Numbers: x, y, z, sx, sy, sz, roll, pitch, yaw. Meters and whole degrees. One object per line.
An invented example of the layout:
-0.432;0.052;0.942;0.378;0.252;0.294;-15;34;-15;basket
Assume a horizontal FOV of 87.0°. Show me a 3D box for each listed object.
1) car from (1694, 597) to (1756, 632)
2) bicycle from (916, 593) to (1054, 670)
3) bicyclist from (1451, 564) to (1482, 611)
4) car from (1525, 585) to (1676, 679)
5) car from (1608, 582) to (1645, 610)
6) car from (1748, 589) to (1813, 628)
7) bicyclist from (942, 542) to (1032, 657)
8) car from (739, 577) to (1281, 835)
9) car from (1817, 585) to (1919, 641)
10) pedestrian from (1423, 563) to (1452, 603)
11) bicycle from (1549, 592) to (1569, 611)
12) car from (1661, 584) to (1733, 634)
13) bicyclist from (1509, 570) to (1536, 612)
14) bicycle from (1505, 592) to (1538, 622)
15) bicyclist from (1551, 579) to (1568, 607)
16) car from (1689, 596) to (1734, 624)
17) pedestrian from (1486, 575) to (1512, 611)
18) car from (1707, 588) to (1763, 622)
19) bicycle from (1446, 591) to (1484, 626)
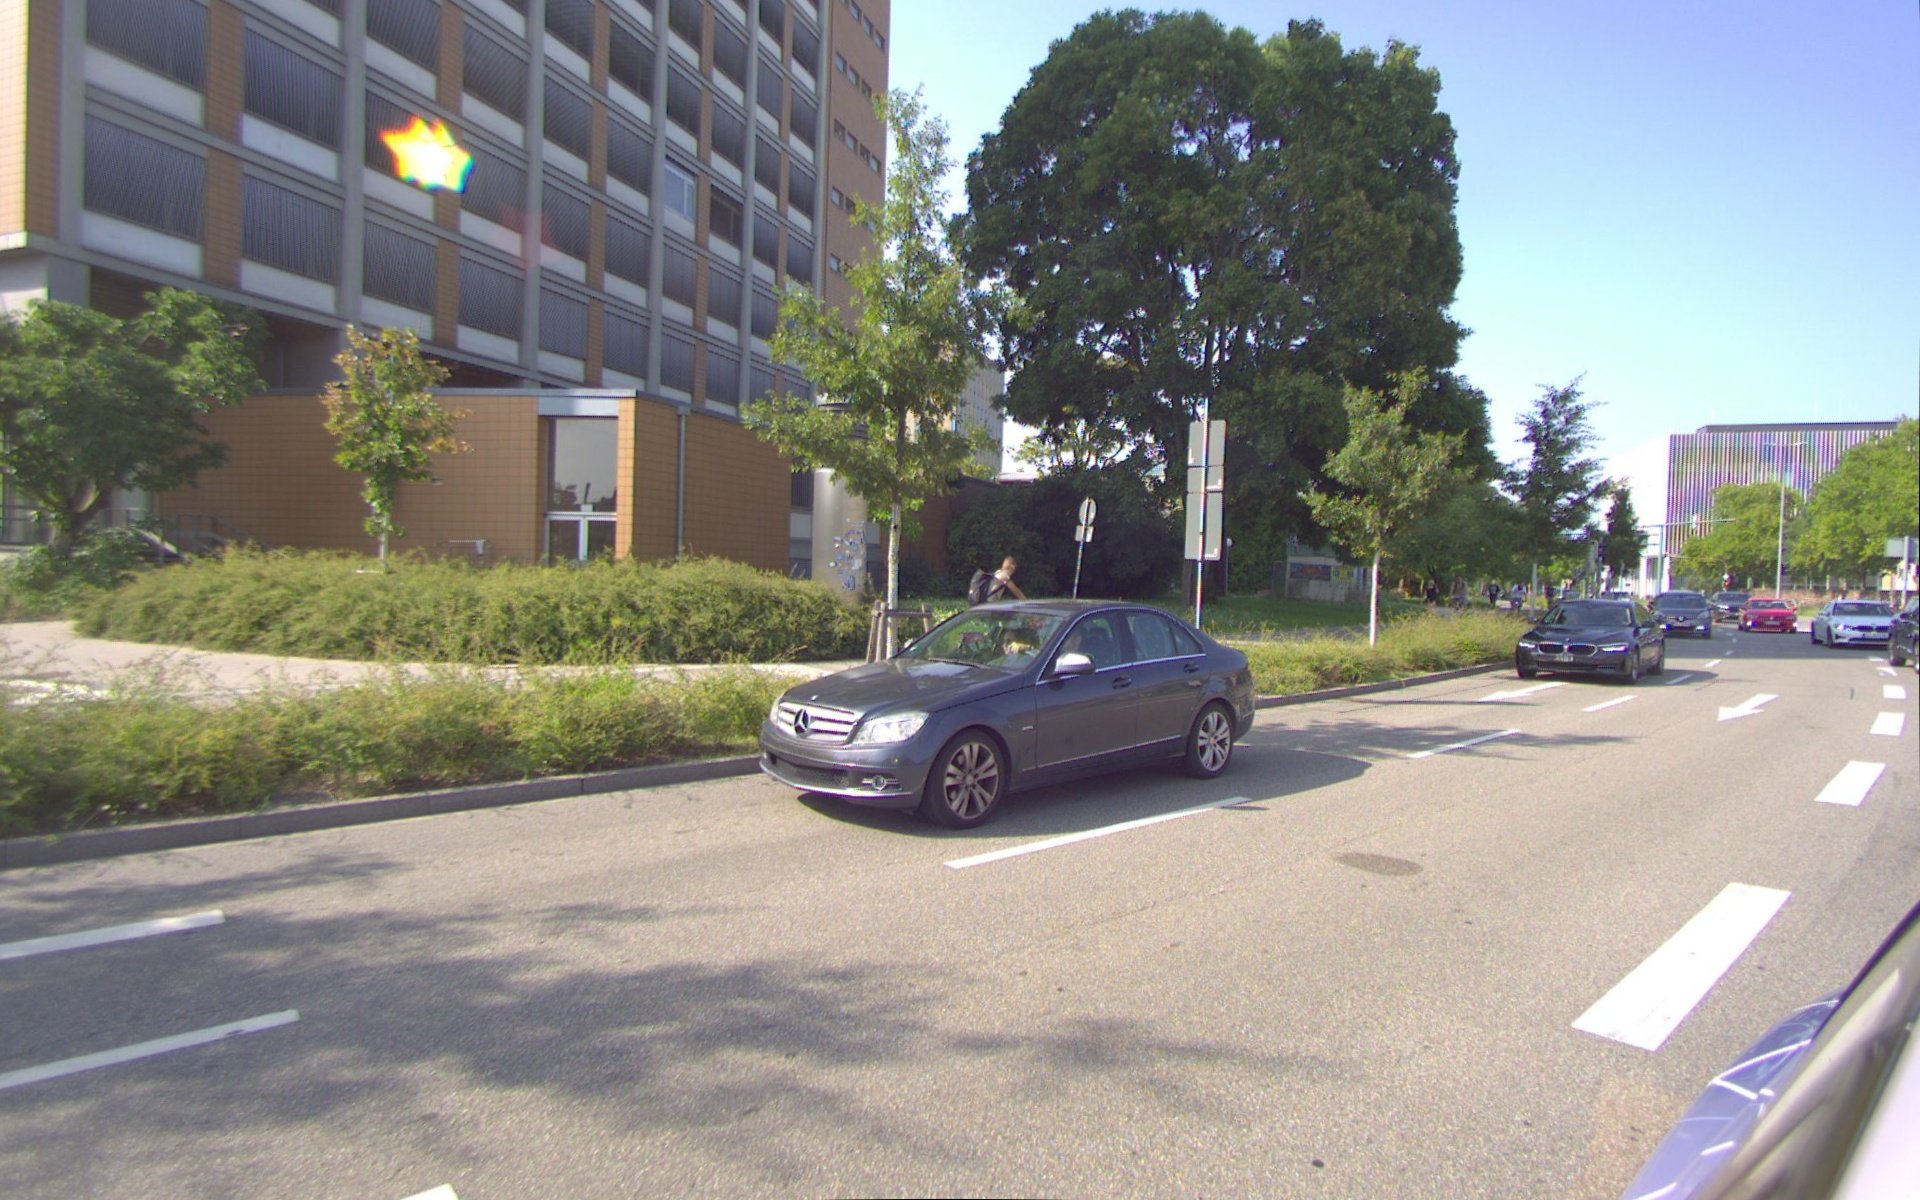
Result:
37.779;0.688;50.065;1.925;1.627;4.483;1;0;31;car
0.368;0.405;13.995;1.887;0.971;0.721;0;2;-41;bicycle
17.466;-0.437;34.916;0.769;1.613;0.911;2;1;38;bicyclist
12.254;0.522;19.229;1.682;1.510;4.602;3;2;42;car
49.503;-0.340;75.227;1.671;1.966;4.333;2;2;26;car
34.600;0.309;42.765;1.677;1.510;4.319;3;2;34;car
0.380;-0.023;13.996;0.987;1.531;0.721;0;2;-40;bicyclist
0.617;0.598;7.856;4.298;1.461;1.685;0;1;-43;car
27.609;0.336;30.730;1.771;1.501;4.480;2;2;33;car
17.911;-0.636;37.963;0.843;1.461;0.725;0;2;-43;pedestrian
36.584;0.078;61.830;0.765;1.131;2.284;1;1;24;bicycle
26.548;0.278;36.556;1.771;1.625;4.370;2;2;32;car
22.250;-0.346;40.008;0.770;1.612;0.911;3;2;38;bicyclist
22.156;0.269;39.919;0.769;1.131;2.272;3;2;38;bicycle
36.595;-0.421;61.815;0.765;1.697;0.916;1;1;25;bicyclist
49.042;0.661;66.151;1.768;1.742;4.485;-1;-1;29;car
28.295;-0.353;53.101;0.955;1.804;0.990;5;3;36;pedestrian
42.193;0.214;55.201;1.769;1.713;4.485;2;2;30;car
17.427;0.276;34.897;0.769;1.131;2.272;2;1;37;bicycle
